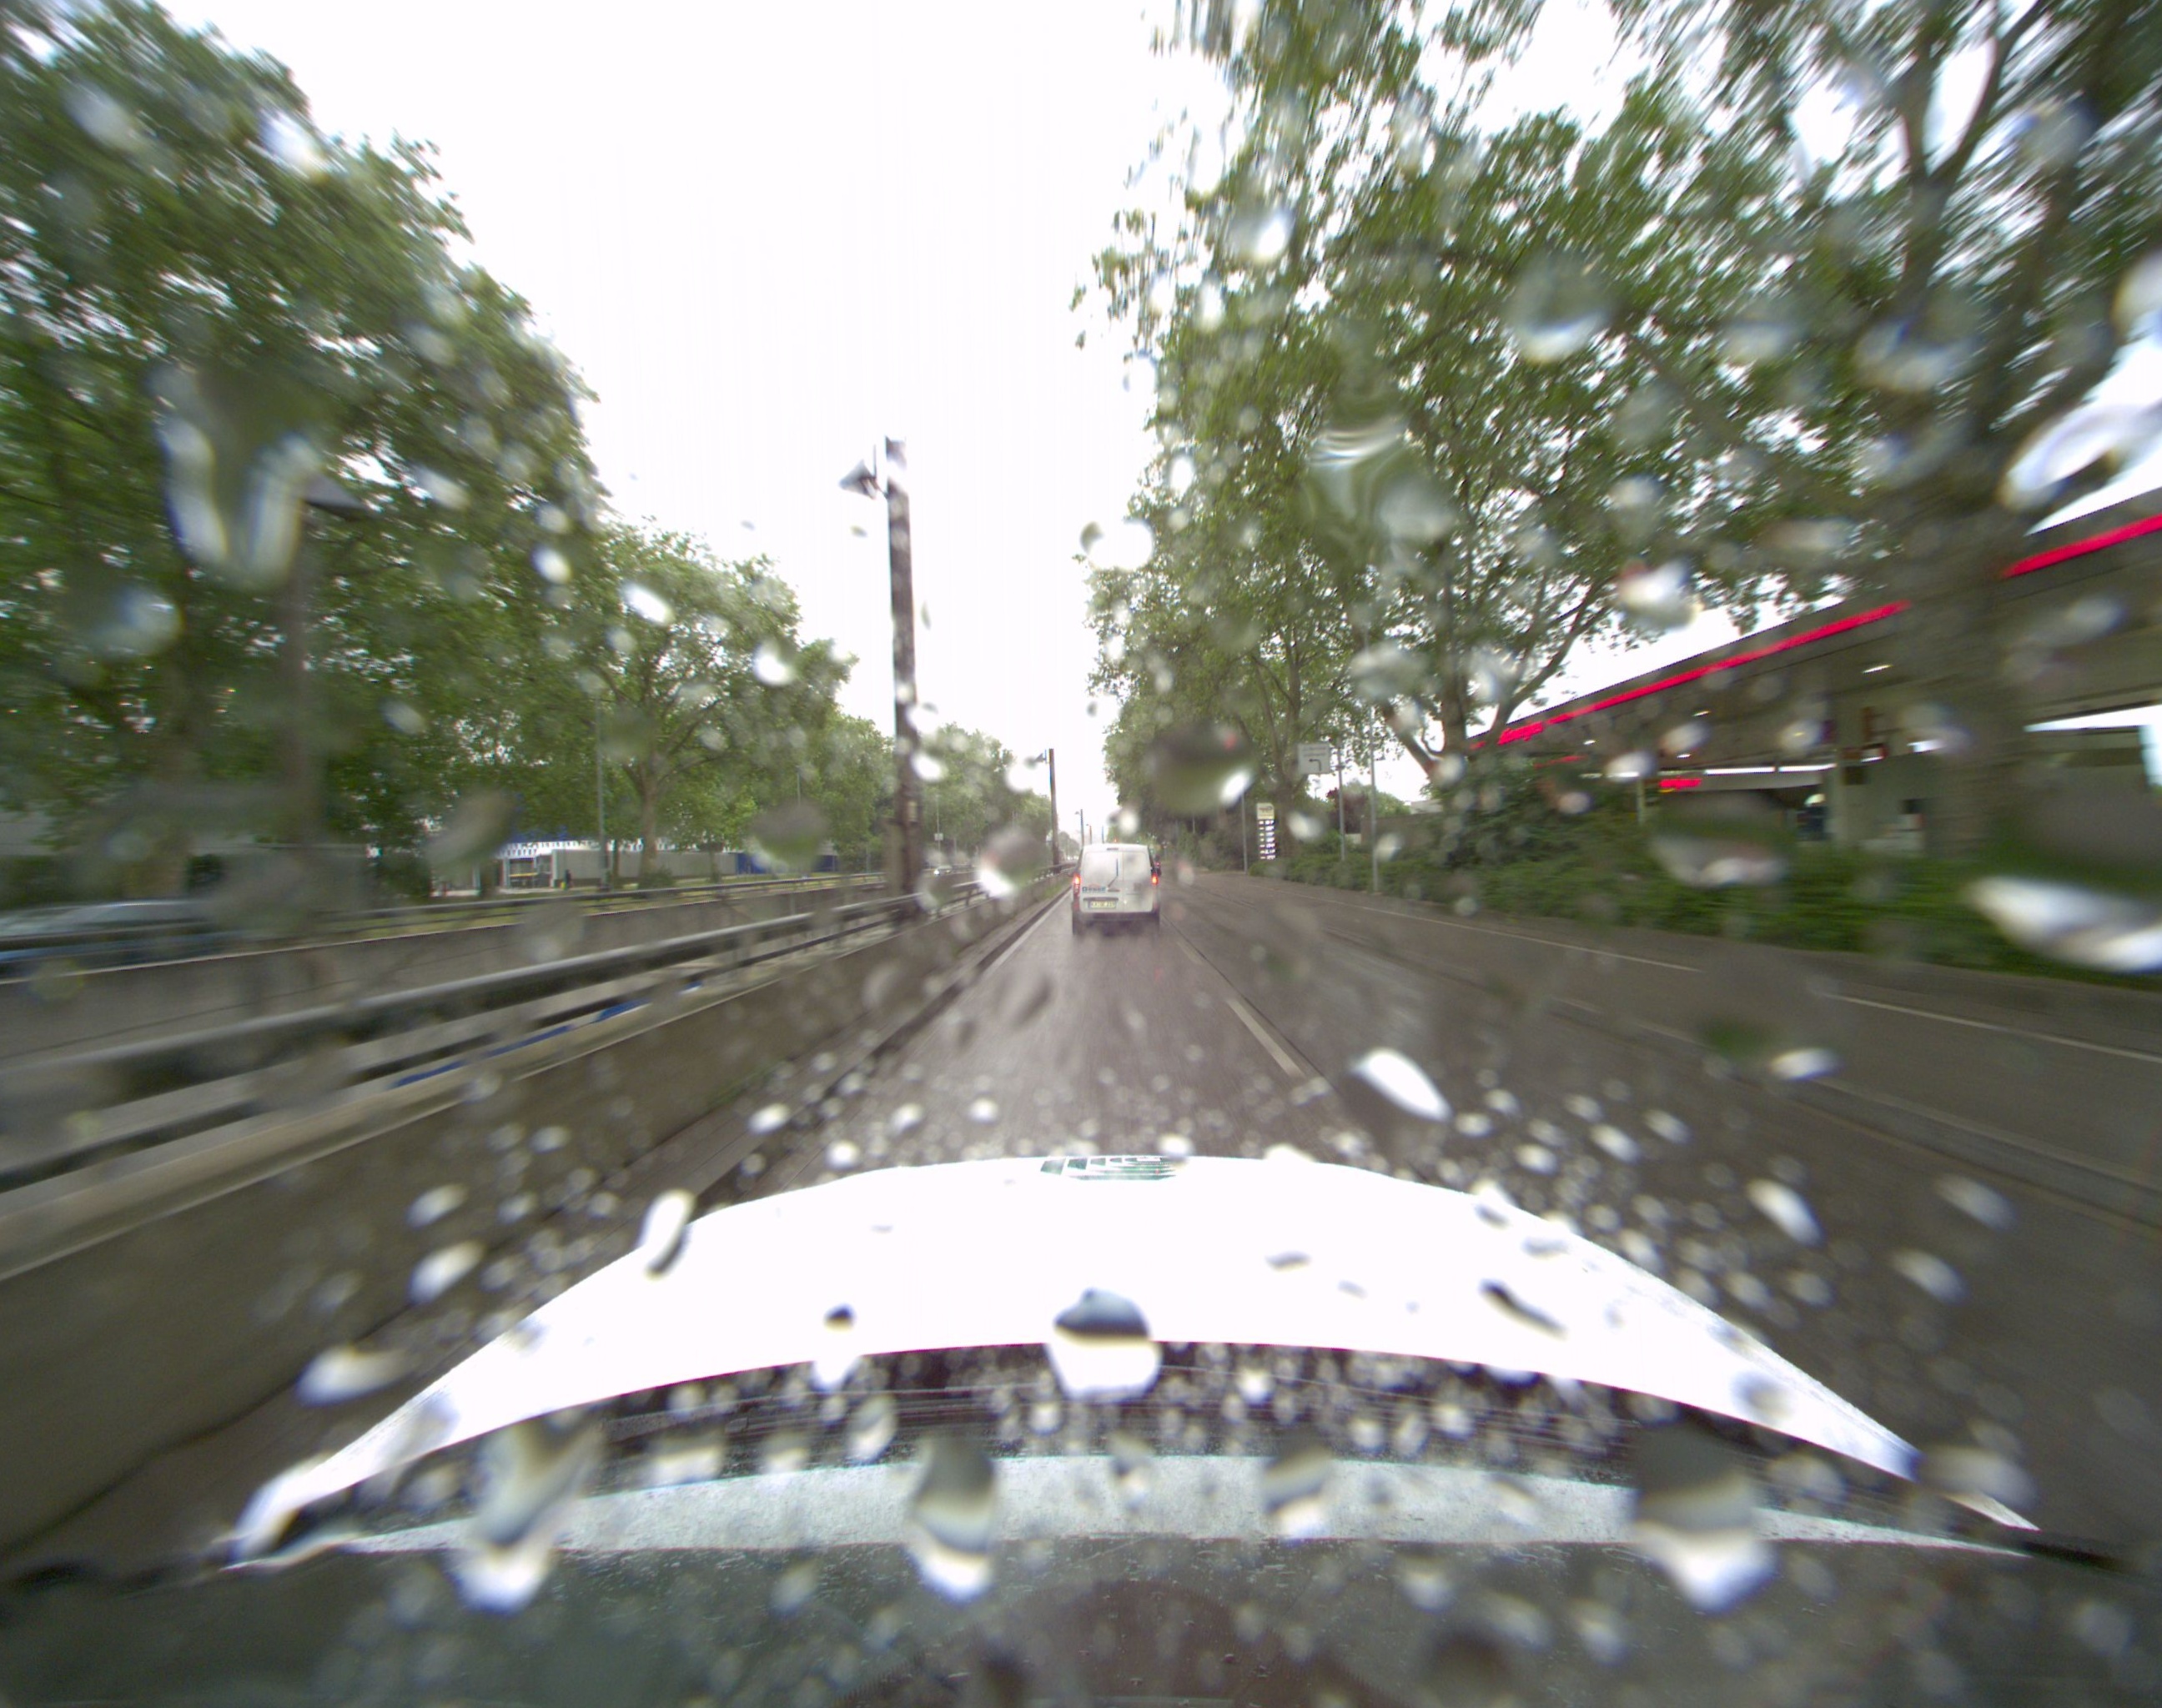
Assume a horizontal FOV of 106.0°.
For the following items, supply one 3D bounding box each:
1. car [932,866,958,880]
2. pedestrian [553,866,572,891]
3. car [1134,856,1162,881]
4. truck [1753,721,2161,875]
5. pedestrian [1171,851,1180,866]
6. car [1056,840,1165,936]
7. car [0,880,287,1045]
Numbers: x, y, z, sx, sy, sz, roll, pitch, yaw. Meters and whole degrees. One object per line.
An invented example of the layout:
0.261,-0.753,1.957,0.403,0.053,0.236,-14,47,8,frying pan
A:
-15.408,2.181,92.550,1.984,1.403,3.799,-2,0,5,car
-42.645,1.994,67.008,0.997,2.014,0.791,0,-1,3,pedestrian
4.877,1.013,59.265,1.984,1.750,4.006,0,0,5,car
22.454,-1.215,21.695,2.685,3.352,7.768,0,0,0,truck
10.700,0.490,92.125,0.963,1.702,1.141,-1,-1,3,pedestrian
0.610,0.646,17.359,2.017,1.775,4.275,0,0,1,car
-14.842,1.454,11.893,1.986,2.014,4.512,0,0,1,car
